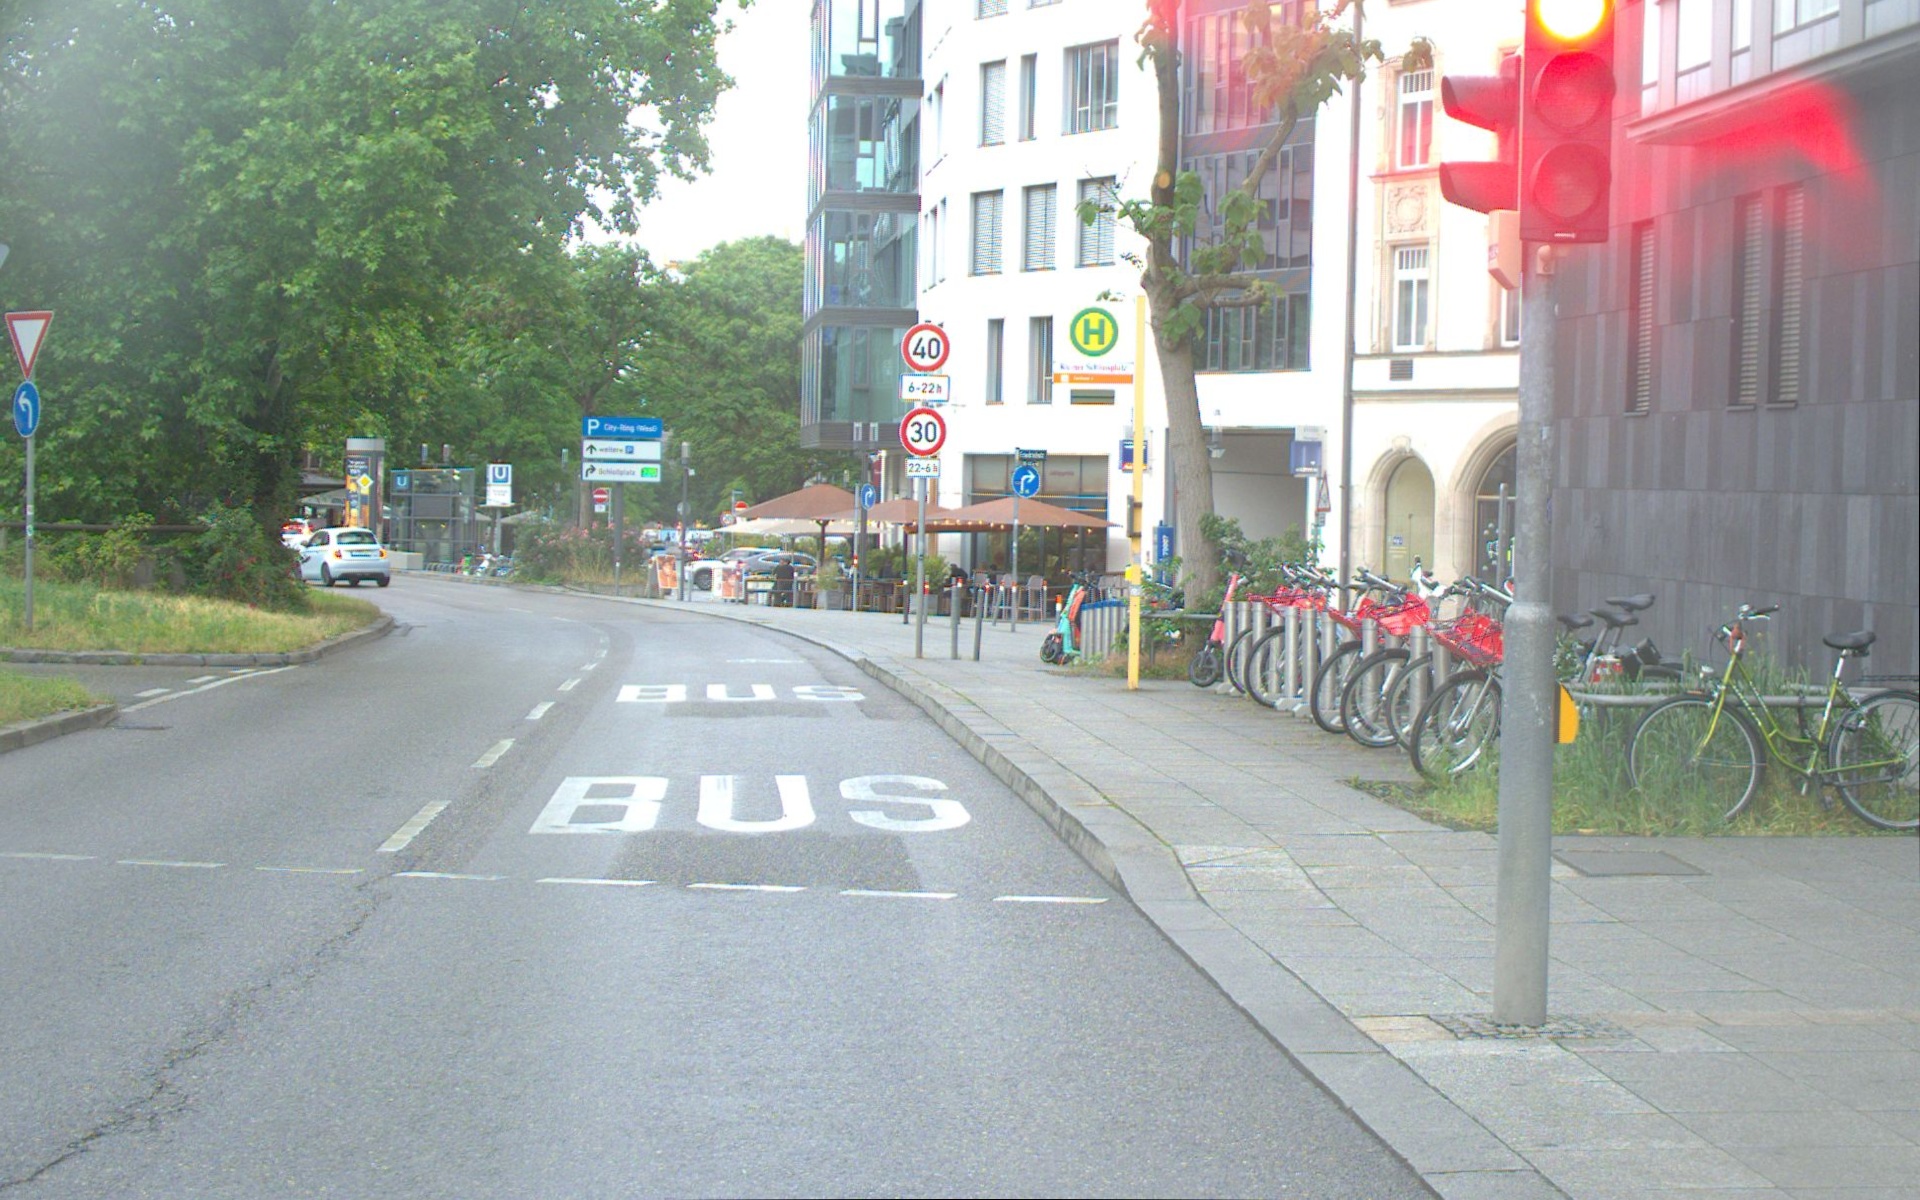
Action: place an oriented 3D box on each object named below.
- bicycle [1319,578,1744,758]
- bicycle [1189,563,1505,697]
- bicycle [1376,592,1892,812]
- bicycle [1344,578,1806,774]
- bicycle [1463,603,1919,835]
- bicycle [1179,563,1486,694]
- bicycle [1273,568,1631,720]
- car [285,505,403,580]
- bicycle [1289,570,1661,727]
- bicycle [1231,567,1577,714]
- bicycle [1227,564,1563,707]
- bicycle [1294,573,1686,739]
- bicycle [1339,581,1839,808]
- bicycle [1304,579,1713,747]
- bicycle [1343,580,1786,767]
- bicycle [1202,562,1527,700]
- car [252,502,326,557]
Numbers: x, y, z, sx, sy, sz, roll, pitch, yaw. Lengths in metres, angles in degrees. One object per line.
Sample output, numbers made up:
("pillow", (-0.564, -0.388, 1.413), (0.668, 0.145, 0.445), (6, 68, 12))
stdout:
("bicycle", (3.580, 0.422, 21.632), (2.535, 1.083, 0.677), (1, 1, -5))
("bicycle", (3.234, 0.245, 28.809), (2.535, 1.083, 0.677), (1, 1, -5))
("bicycle", (3.499, 0.525, 17.939), (2.535, 1.083, 0.677), (1, 1, -5))
("bicycle", (3.558, 0.435, 19.967), (2.535, 1.083, 0.677), (1, 1, -5))
("bicycle", (3.744, 0.565, 16.462), (2.535, 1.053, 0.677), (1, 1, -5))
("bicycle", (3.190, 0.241, 29.531), (2.535, 1.083, 0.627), (1, 1, -5))
("bicycle", (3.649, 0.324, 25.582), (2.535, 1.083, 0.677), (1, 1, -5))
("car", (-16.130, -1.519, 89.950), (1.993, 1.641, 4.002), (5, 1, -24))
("bicycle", (3.672, 0.343, 24.604), (2.535, 1.083, 0.677), (1, 1, -5))
("bicycle", (3.399, 0.304, 26.421), (2.535, 1.083, 0.677), (1, 1, -5))
("bicycle", (3.425, 0.276, 27.173), (2.535, 1.083, 0.677), (1, 1, -5))
("bicycle", (3.594, 0.378, 23.408), (2.535, 1.083, 0.677), (1, 1, -5))
("bicycle", (3.412, 0.509, 18.742), (2.535, 1.083, 0.677), (3, 1, -5))
("bicycle", (3.576, 0.408, 22.499), (2.535, 1.056, 0.677), (1, 1, -5))
("bicycle", (3.647, 0.441, 20.822), (2.535, 1.083, 0.677), (1, 1, -5))
("bicycle", (3.291, 0.247, 28.062), (2.535, 1.083, 0.677), (1, 1, -5))
("car", (-22.298, -2.356, 114.119), (2.178, 1.695, 4.001), (3, 1, -13))
